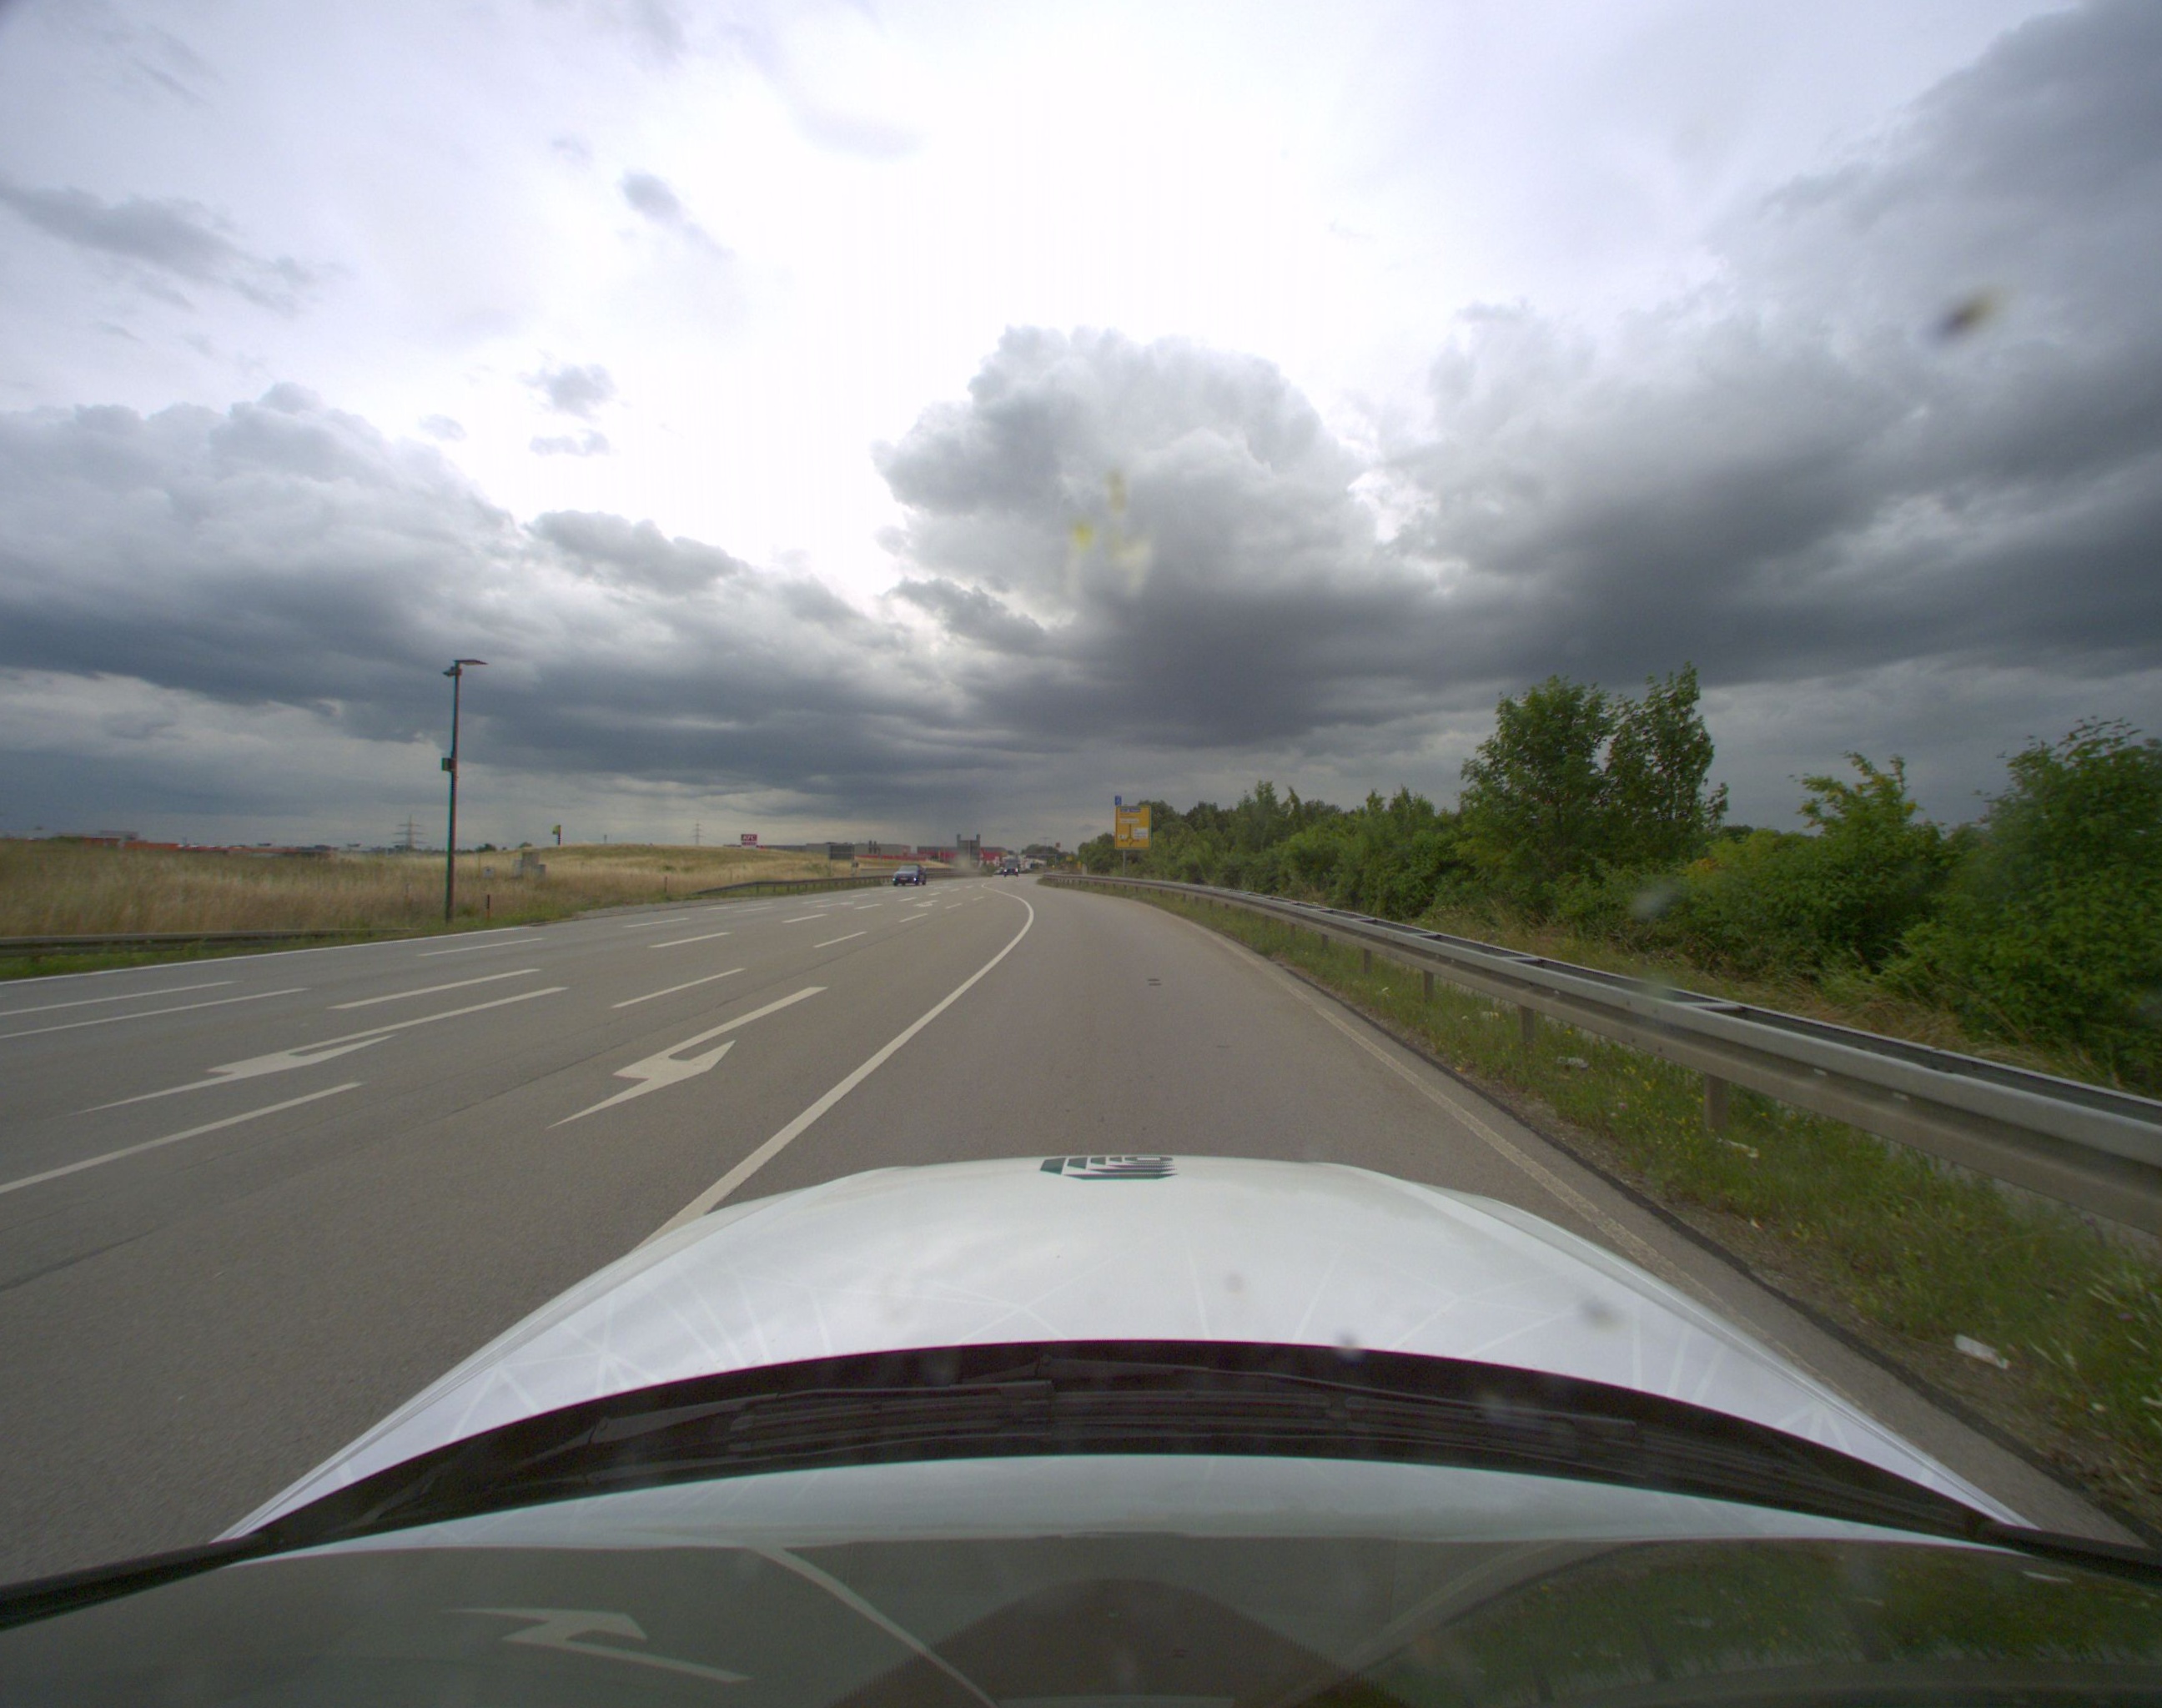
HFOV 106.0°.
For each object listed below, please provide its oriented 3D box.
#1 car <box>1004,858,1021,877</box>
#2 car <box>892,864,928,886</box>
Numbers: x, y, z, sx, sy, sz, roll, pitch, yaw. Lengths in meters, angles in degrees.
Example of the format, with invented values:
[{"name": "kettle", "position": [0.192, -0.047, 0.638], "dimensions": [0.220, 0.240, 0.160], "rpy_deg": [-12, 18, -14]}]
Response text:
[{"name": "car", "position": [-9.708, 1.861, 115.173], "dimensions": [1.988, 2.592, 6.001], "rpy_deg": [0, -1, -1]}, {"name": "car", "position": [-12.378, 1.536, 59.229], "dimensions": [1.792, 1.550, 3.998], "rpy_deg": [0, -1, -1]}]
